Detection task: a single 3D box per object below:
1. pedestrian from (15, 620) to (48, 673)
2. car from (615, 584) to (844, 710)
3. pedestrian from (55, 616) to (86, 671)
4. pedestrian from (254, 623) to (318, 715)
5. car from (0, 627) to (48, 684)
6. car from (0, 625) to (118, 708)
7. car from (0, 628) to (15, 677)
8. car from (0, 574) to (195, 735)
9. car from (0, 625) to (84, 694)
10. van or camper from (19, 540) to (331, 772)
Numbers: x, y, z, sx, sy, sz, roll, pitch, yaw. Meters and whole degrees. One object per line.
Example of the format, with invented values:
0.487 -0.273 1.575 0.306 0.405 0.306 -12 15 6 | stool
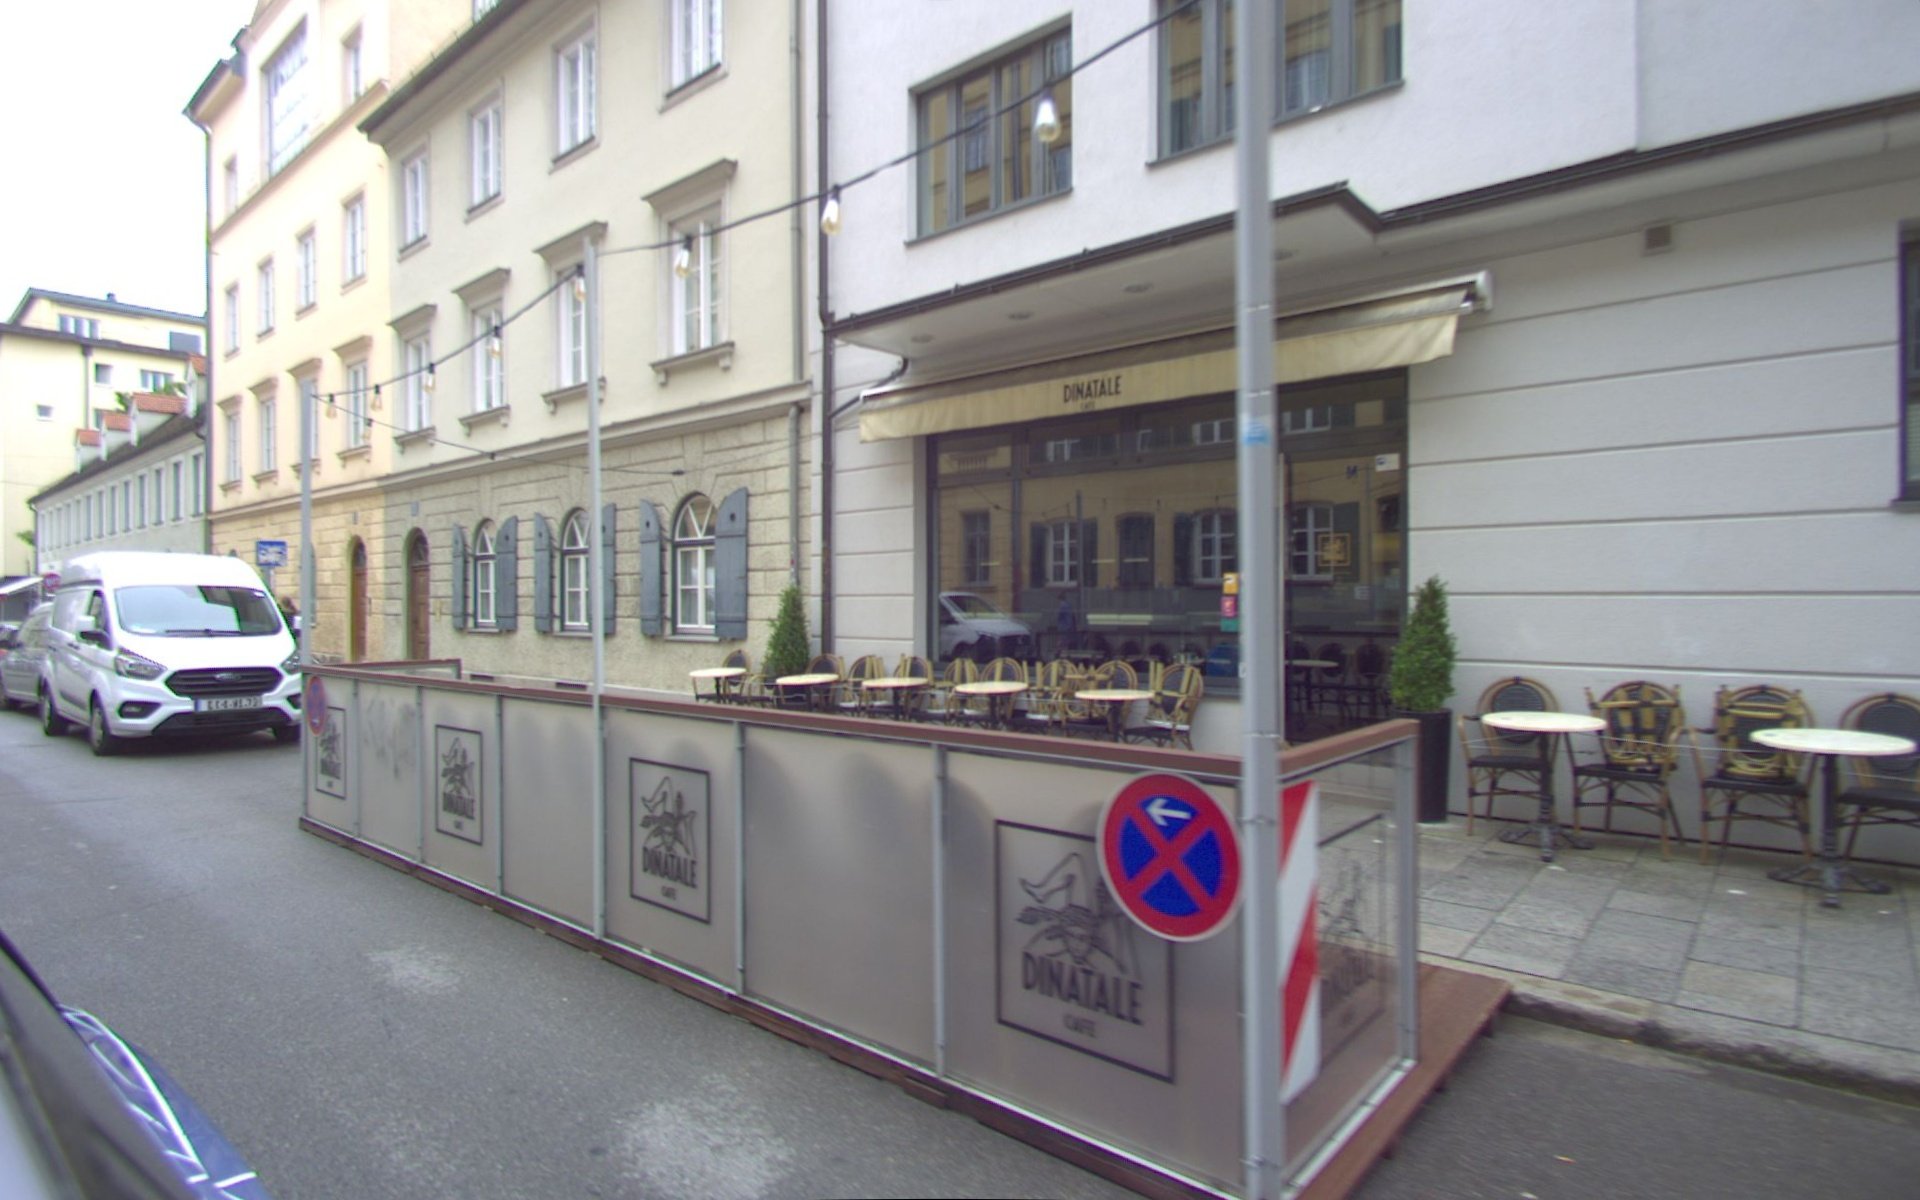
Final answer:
-28.656 1.437 31.233 0.662 1.611 0.607 -2 -2 38 | pedestrian
-4.319 0.802 18.602 4.399 2.029 1.972 -1 -2 42 | car
-28.179 1.361 32.057 0.805 1.711 0.574 -2 -2 38 | pedestrian
-13.000 1.303 19.515 1.021 1.725 0.797 -2 -2 42 | pedestrian
-25.438 1.425 26.420 4.266 1.412 1.839 -2 -1 40 | car
-18.025 1.226 19.654 4.265 1.412 1.839 -2 -1 40 | car
-29.674 1.570 30.120 4.267 1.412 1.838 -2 -1 41 | car
-13.951 0.795 16.134 4.557 2.218 1.839 -2 -1 40 | car
-21.528 1.301 22.902 4.264 1.412 1.839 -2 -1 38 | car
-9.986 0.609 12.679 5.474 2.329 1.973 -1 -1 40 | van or camper
